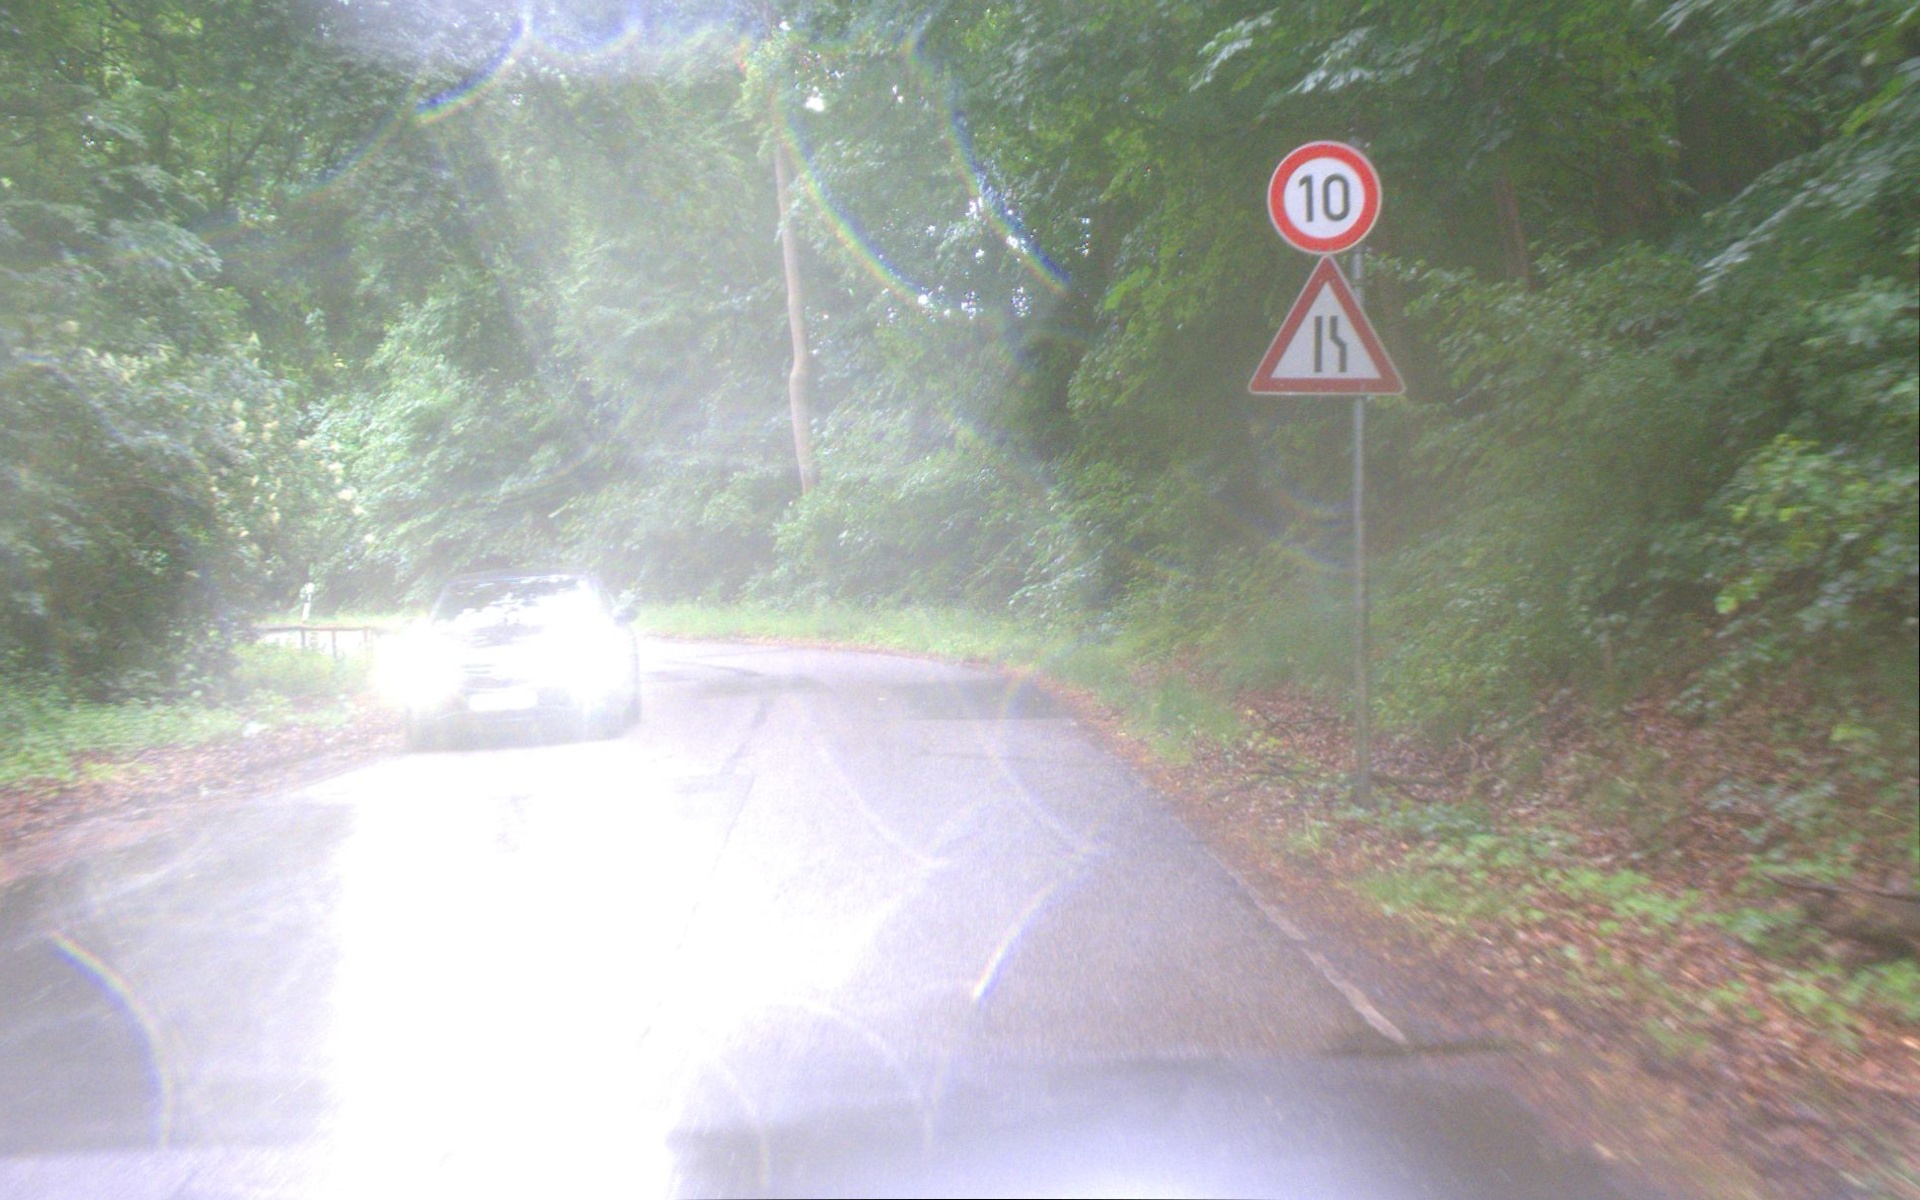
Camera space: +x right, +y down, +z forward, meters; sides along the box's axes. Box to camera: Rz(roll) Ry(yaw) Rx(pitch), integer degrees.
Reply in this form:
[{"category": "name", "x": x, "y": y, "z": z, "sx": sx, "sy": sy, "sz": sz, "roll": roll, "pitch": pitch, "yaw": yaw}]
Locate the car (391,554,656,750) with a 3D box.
[{"category": "car", "x": -3.661, "y": 0.391, "z": 29.422, "sx": 1.714, "sy": 1.470, "sz": 3.891, "roll": -3, "pitch": 1, "yaw": 0}]
